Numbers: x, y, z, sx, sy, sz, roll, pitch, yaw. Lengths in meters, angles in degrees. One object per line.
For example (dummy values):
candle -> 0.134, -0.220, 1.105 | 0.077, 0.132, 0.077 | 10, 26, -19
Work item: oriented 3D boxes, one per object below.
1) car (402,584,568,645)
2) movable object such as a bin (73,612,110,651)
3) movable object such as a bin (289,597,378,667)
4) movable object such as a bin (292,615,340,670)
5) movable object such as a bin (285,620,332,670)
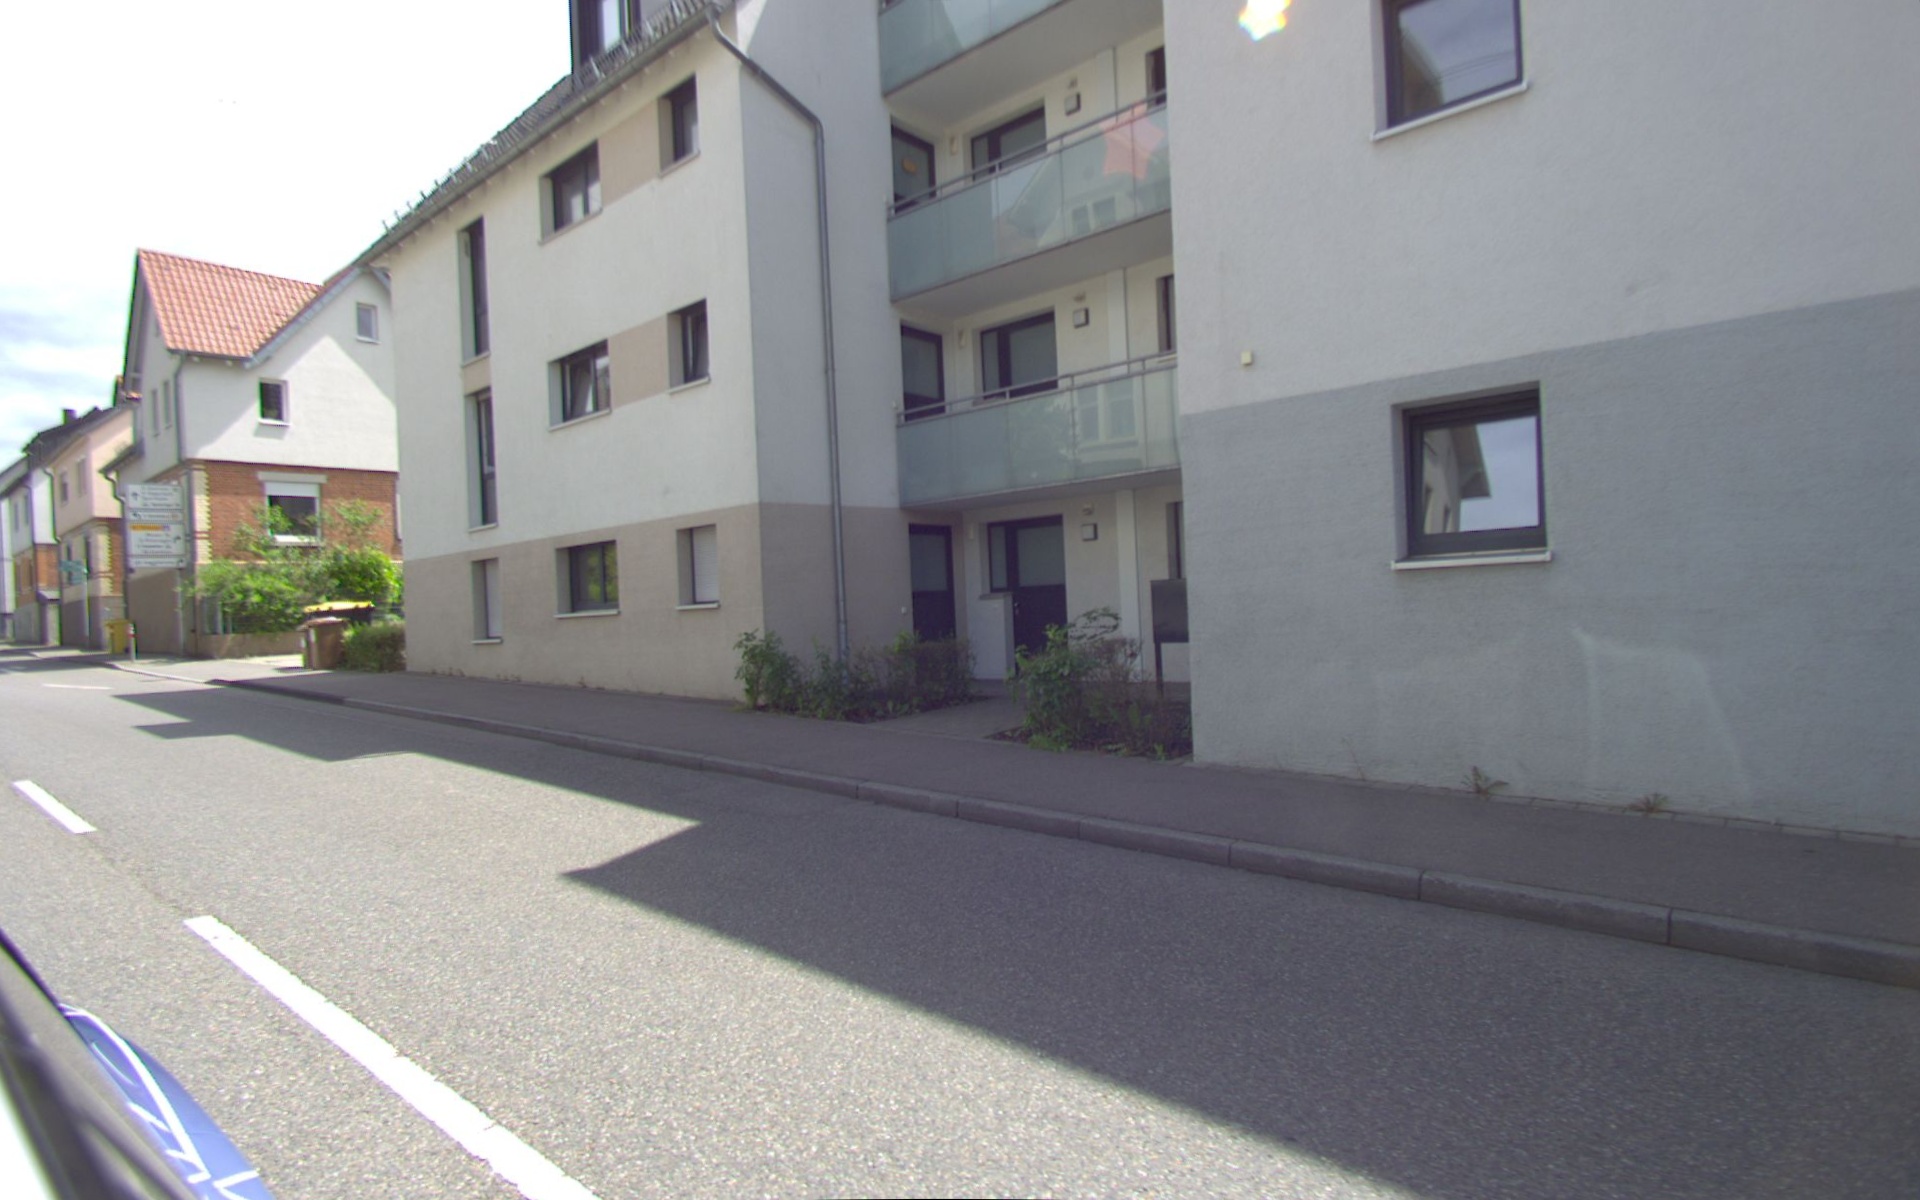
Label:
car -> -14.003, 0.394, 30.006 | 1.999, 1.585, 3.949 | -1, 1, 39
movable object such as a bin -> -27.225, 0.982, 31.722 | 0.802, 1.170, 0.756 | 0, 2, 42
movable object such as a bin -> -13.864, 0.693, 22.413 | 1.168, 1.457, 1.322 | -1, 1, 36
movable object such as a bin -> -13.246, 0.857, 20.821 | 0.659, 1.083, 0.634 | -1, 1, 37
movable object such as a bin -> -13.757, 0.937, 21.371 | 0.656, 1.008, 0.634 | -1, 1, 40
